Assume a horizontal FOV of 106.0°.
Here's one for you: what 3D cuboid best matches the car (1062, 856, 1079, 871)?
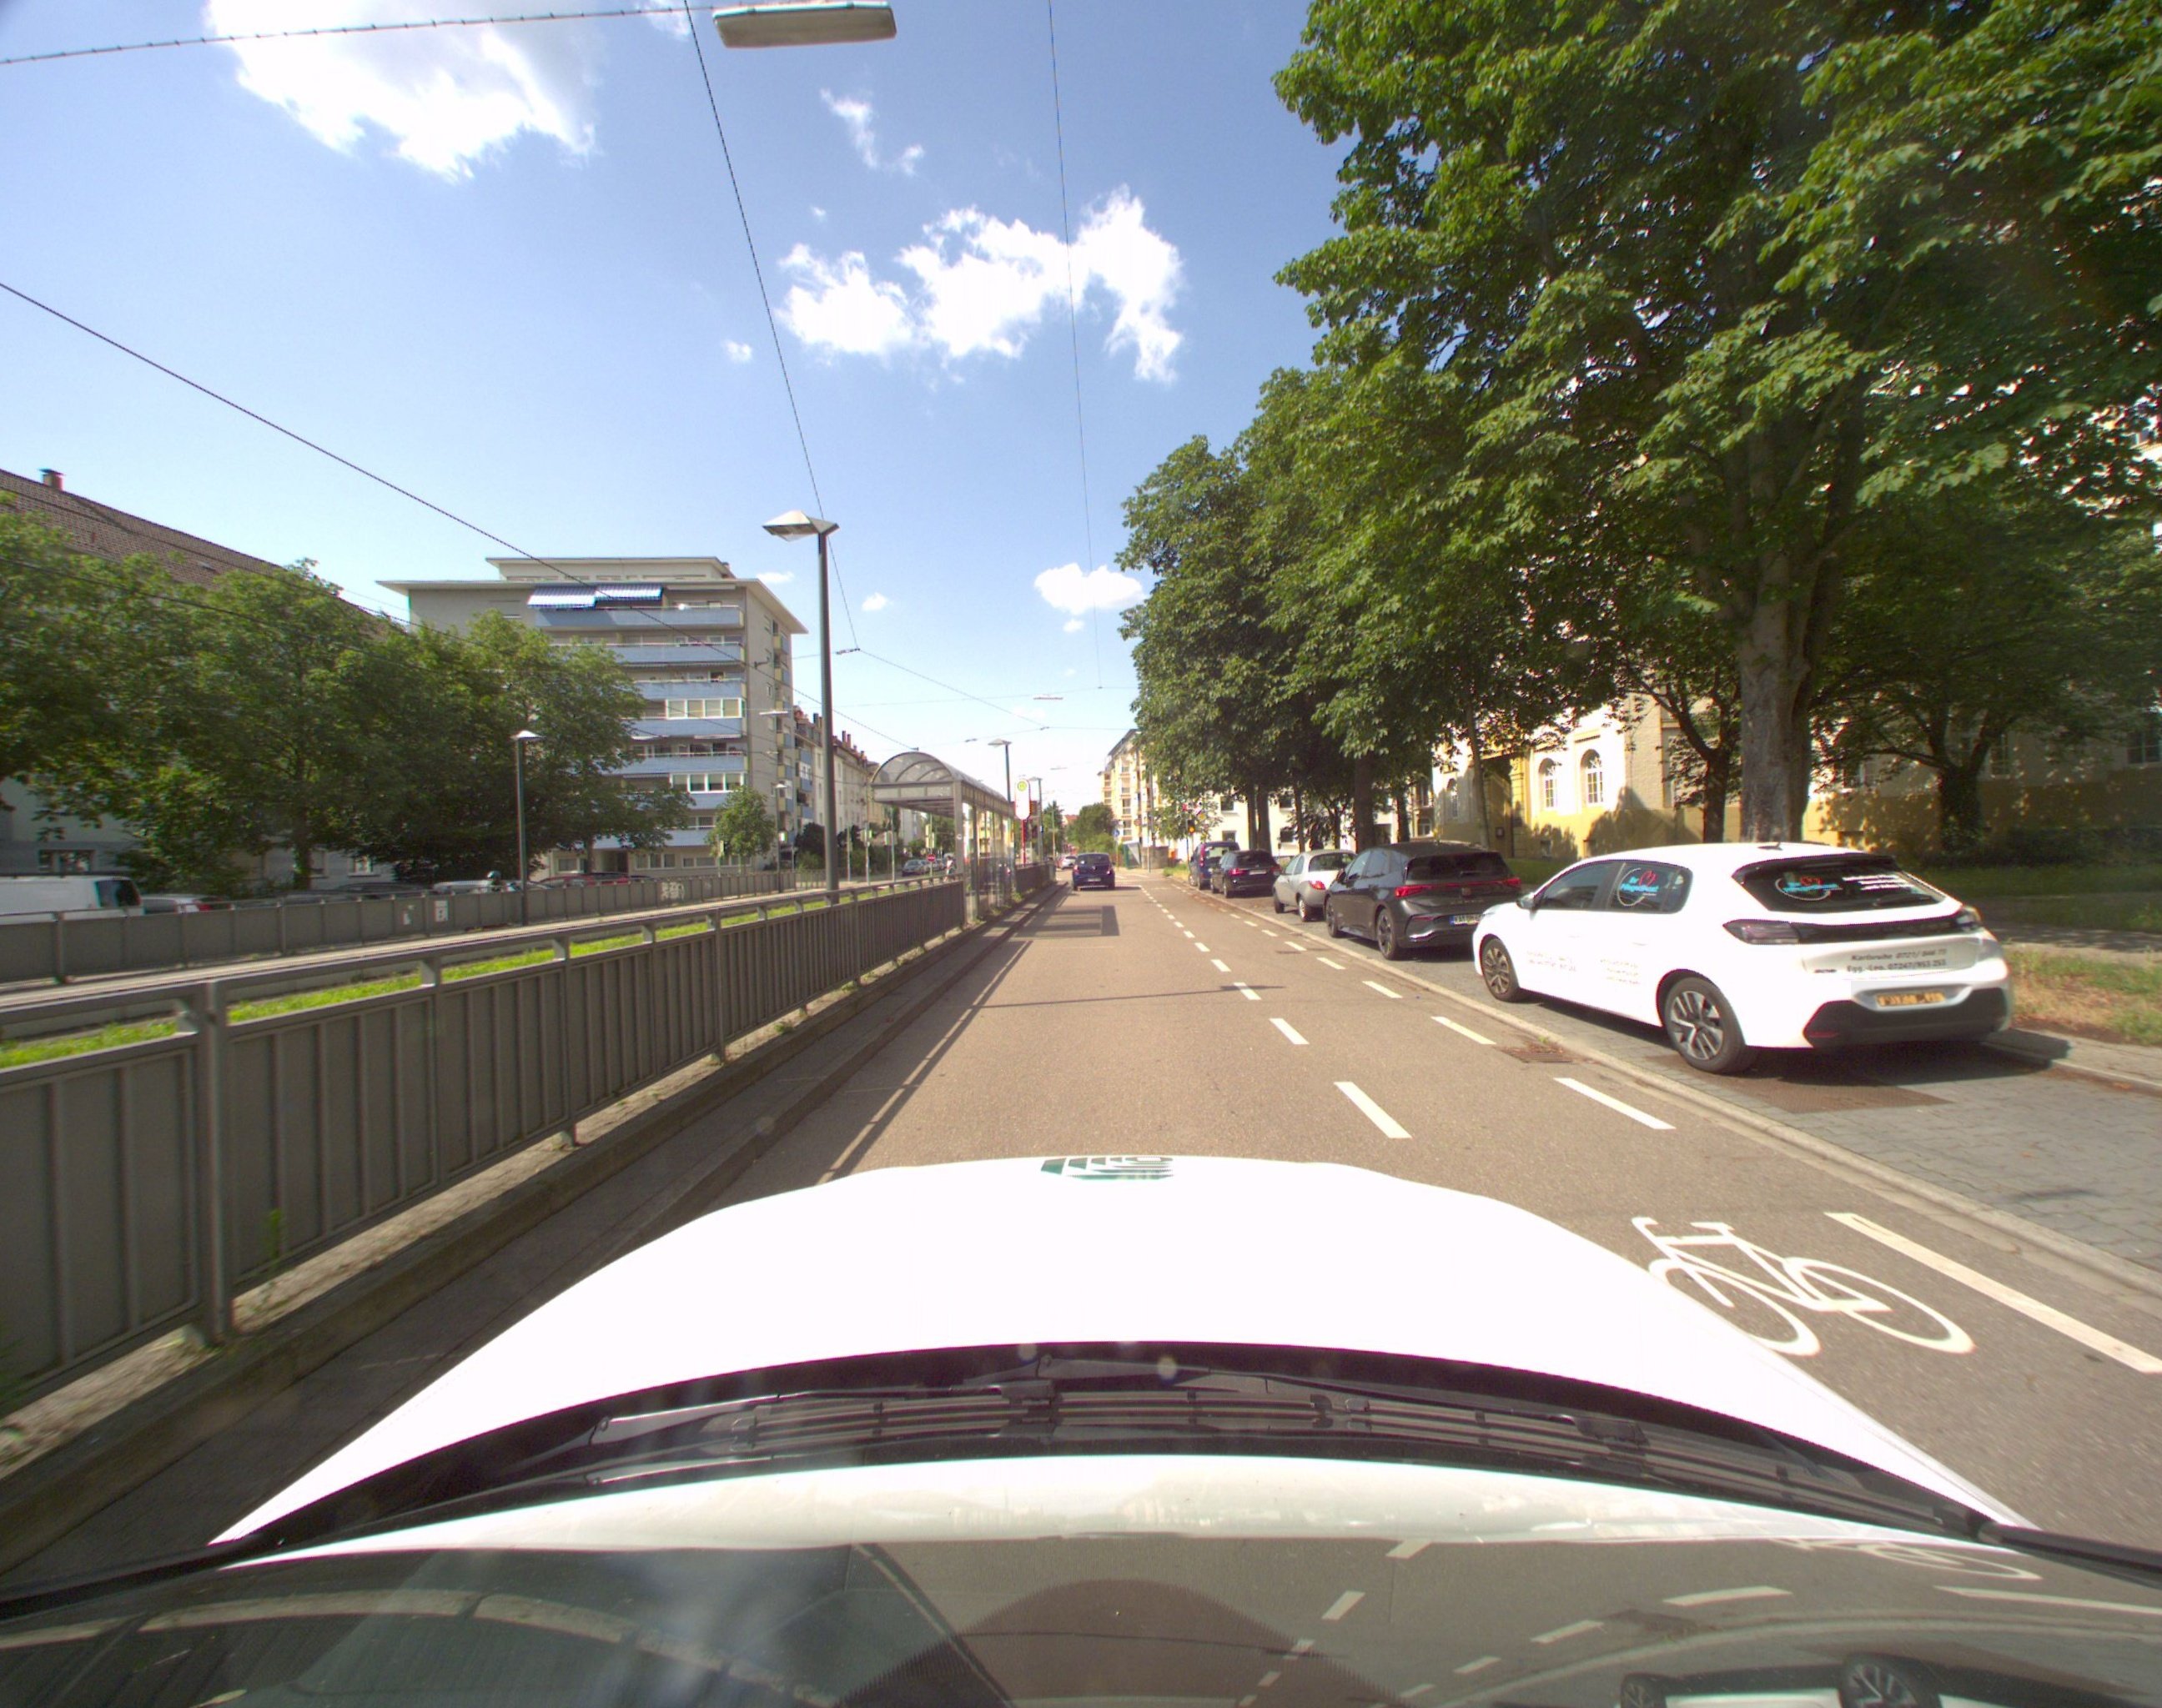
[{"bbox_3d":[-1.086,0.919,82.312,1.618,1.465,3.507,-1,-1,-3],"label":"car"}]

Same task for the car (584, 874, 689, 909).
[{"bbox_3d":[-21.010,1.737,38.546,4.154,1.394,1.591,-2,0,-37],"label":"car"}]

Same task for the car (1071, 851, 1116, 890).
[{"bbox_3d":[0.510,0.666,33.782,1.738,1.507,4.000,-1,-1,1],"label":"car"}]

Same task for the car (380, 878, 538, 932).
[{"bbox_3d":[-21.083,1.698,27.805,4.039,1.514,1.594,-2,0,-29],"label":"car"}]

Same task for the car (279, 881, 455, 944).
[{"bbox_3d":[-21.438,1.713,24.649,3.678,1.579,1.633,-2,0,-30],"label":"car"}]

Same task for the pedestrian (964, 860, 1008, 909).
[{"bbox_3d":[-2.229,0.708,19.081,0.655,1.072,0.728,-2,1,35],"label":"pedestrian"}]

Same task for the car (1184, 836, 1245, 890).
[{"bbox_3d":[5.210,0.322,32.269,1.815,1.896,4.187,-4,0,3],"label":"car"}]

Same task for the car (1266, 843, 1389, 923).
[{"bbox_3d":[5.180,0.576,17.554,1.585,1.445,3.599,-4,0,2],"label":"car"}]

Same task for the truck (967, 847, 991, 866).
[{"bbox_3d":[-18.554,0.404,148.892,2.584,3.185,8.393,-3,0,4],"label":"truck"}]

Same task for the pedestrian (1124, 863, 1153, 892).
[{"bbox_3d":[4.130,1.688,59.130,1.986,2.014,4.001,-1,-1,2],"label":"pedestrian"}]

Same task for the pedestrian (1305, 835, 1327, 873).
[{"bbox_3d":[10.743,0.004,37.287,0.741,1.696,0.767,-3,0,2],"label":"pedestrian"}]

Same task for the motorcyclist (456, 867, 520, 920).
[{"bbox_3d":[-16.051,1.062,22.079,0.935,1.339,0.987,-3,0,2],"label":"motorcyclist"}]

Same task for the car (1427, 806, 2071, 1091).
[{"bbox_3d":[4.825,0.553,6.893,1.830,1.523,4.251,-4,0,-1],"label":"car"}]

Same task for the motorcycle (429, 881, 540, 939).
[{"bbox_3d":[-16.049,1.480,22.023,1.011,1.339,2.518,-3,0,2],"label":"motorcycle"}]

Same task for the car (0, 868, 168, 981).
[{"bbox_3d":[-21.525,1.411,16.200,3.964,2.070,2.030,-2,0,-30],"label":"car"}]

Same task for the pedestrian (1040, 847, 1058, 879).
[{"bbox_3d":[-1.692,0.500,43.459,0.843,1.667,0.798,-2,-1,-2],"label":"pedestrian"}]

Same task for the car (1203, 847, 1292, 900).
[{"bbox_3d":[5.368,0.562,26.906,1.911,1.442,4.796,-5,0,0],"label":"car"}]

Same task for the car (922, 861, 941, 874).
[{"bbox_3d":[-17.977,1.624,98.166,1.765,1.442,3.994,0,-1,-4],"label":"car"}]

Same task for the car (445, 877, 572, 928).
[{"bbox_3d":[-21.256,1.767,30.411,3.678,1.579,1.633,-2,0,-30],"label":"car"}]

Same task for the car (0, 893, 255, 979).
[{"bbox_3d":[-22.100,1.826,18.745,3.964,1.579,1.702,-2,0,-31],"label":"car"}]

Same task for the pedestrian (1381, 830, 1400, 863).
[{"bbox_3d":[15.167,-0.367,39.951,0.629,1.596,0.539,-2,-1,-2],"label":"pedestrian"}]

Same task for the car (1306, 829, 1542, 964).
[{"bbox_3d":[4.917,0.526,12.494,1.718,1.583,4.679,-3,0,2],"label":"car"}]

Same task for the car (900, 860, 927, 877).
[{"bbox_3d":[-16.900,1.459,82.212,1.989,1.645,3.996,-1,-1,-2],"label":"car"}]

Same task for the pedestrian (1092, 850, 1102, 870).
[{"bbox_3d":[1.482,0.574,76.889,0.699,1.789,1.029,-5,0,-3],"label":"pedestrian"}]

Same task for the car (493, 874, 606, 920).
[{"bbox_3d":[-21.364,1.682,32.894,3.678,1.579,1.633,-2,0,-30],"label":"car"}]

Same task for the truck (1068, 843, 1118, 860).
[{"bbox_3d":[2.476,-0.566,169.722,10.136,3.471,2.666,0,-1,-11],"label":"truck"}]

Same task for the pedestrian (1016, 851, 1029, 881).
[{"bbox_3d":[-3.247,0.651,44.997,0.703,1.648,0.636,0,-1,-2],"label":"pedestrian"}]

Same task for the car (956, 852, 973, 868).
[{"bbox_3d":[-16.820,0.906,117.449,1.989,2.275,4.827,0,0,-4],"label":"car"}]

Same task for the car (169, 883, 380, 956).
[{"bbox_3d":[-21.449,1.686,21.879,3.678,1.579,1.633,-2,0,-30],"label":"car"}]
